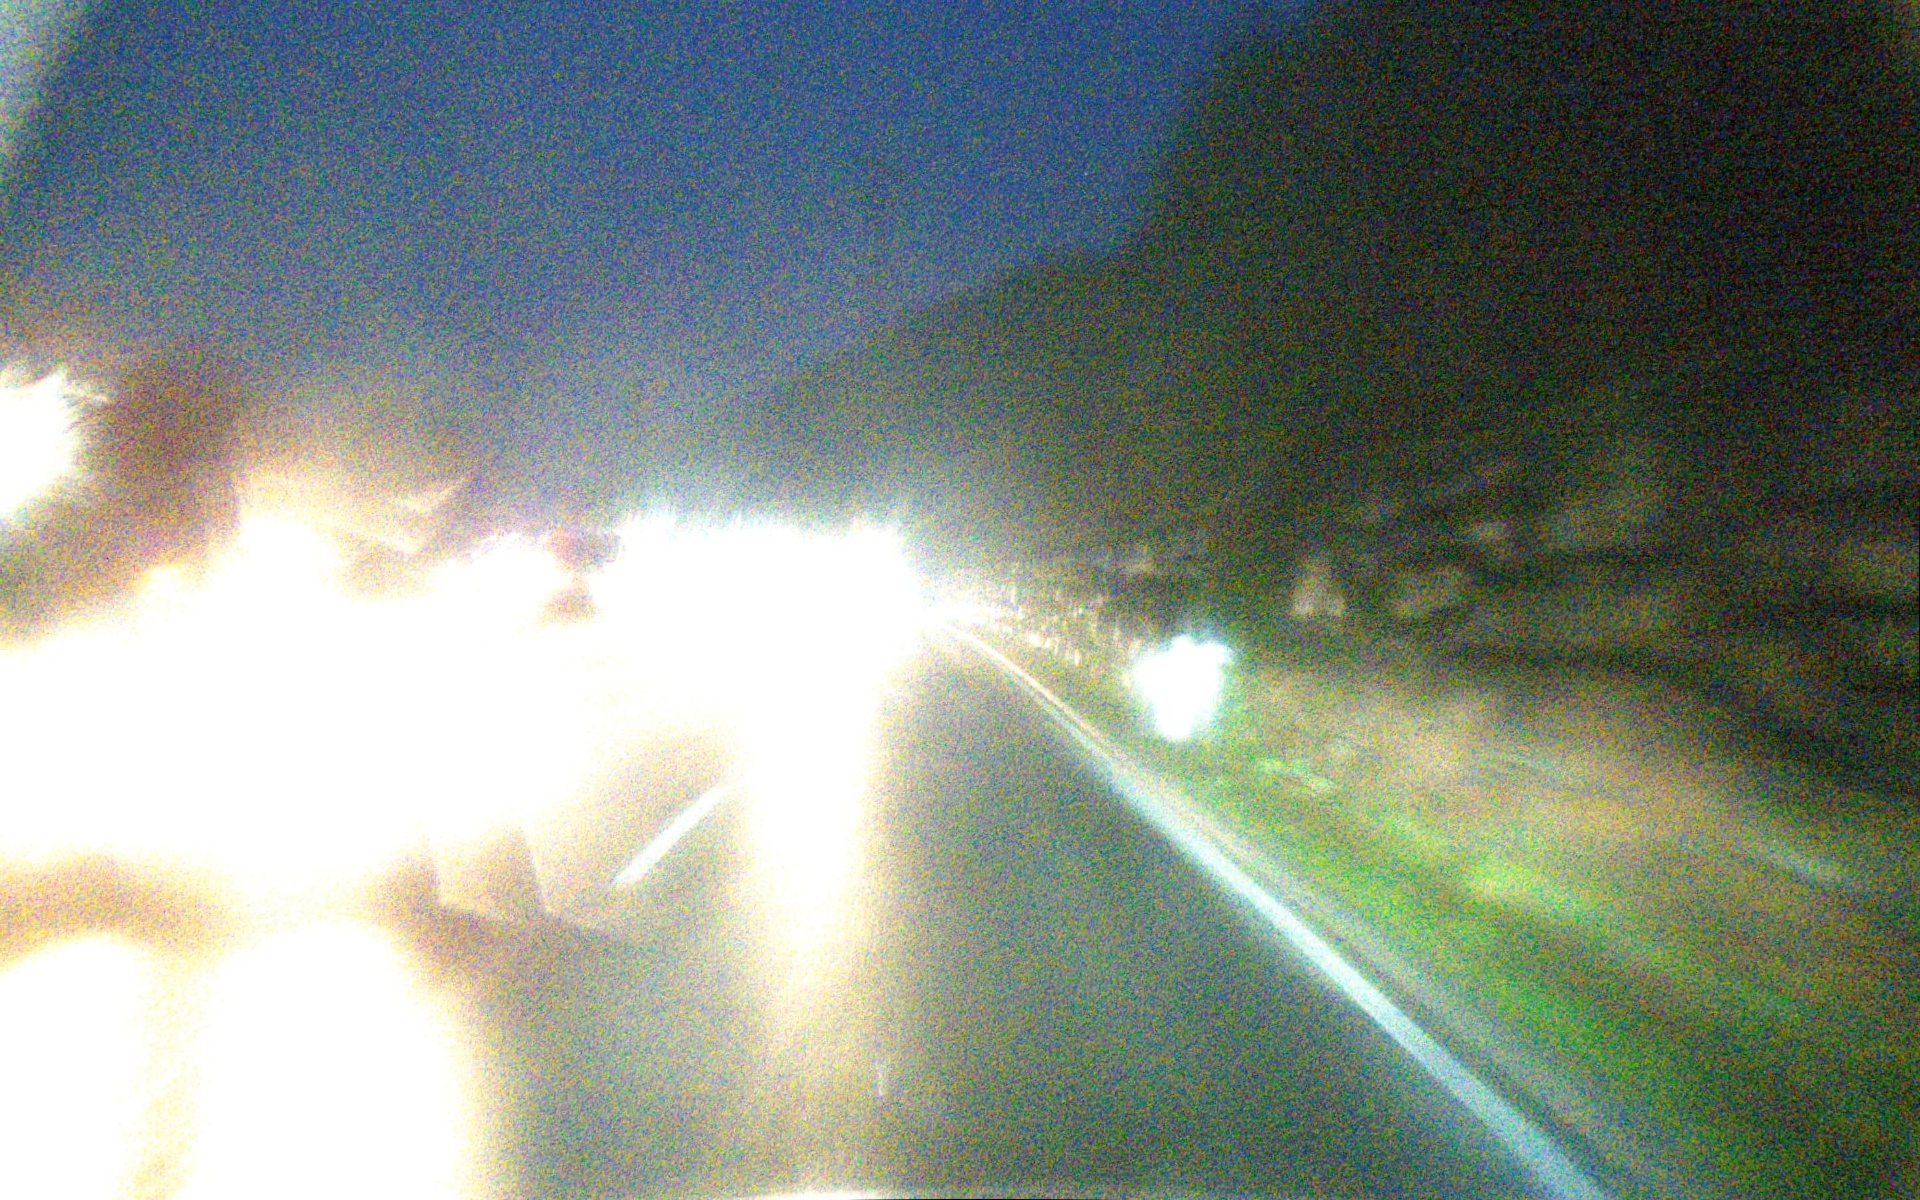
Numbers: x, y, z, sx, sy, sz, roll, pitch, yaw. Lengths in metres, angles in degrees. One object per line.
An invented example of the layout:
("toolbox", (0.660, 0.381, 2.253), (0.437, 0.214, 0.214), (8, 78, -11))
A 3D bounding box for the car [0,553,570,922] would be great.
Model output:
("car", (-3.521, 0.628, 9.348), (1.790, 1.646, 3.727), (1, 0, -1))

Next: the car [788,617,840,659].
("car", (-5.353, 1.364, 60.921), (1.677, 1.442, 4.064), (1, 0, -2))

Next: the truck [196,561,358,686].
("truck", (-28.204, 0.926, 68.722), (3.257, 4.880, 7.322), (1, 0, 3))

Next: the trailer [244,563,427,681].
("trailer", (-27.904, 0.948, 74.717), (3.257, 4.880, 11.560), (1, 0, 3))
